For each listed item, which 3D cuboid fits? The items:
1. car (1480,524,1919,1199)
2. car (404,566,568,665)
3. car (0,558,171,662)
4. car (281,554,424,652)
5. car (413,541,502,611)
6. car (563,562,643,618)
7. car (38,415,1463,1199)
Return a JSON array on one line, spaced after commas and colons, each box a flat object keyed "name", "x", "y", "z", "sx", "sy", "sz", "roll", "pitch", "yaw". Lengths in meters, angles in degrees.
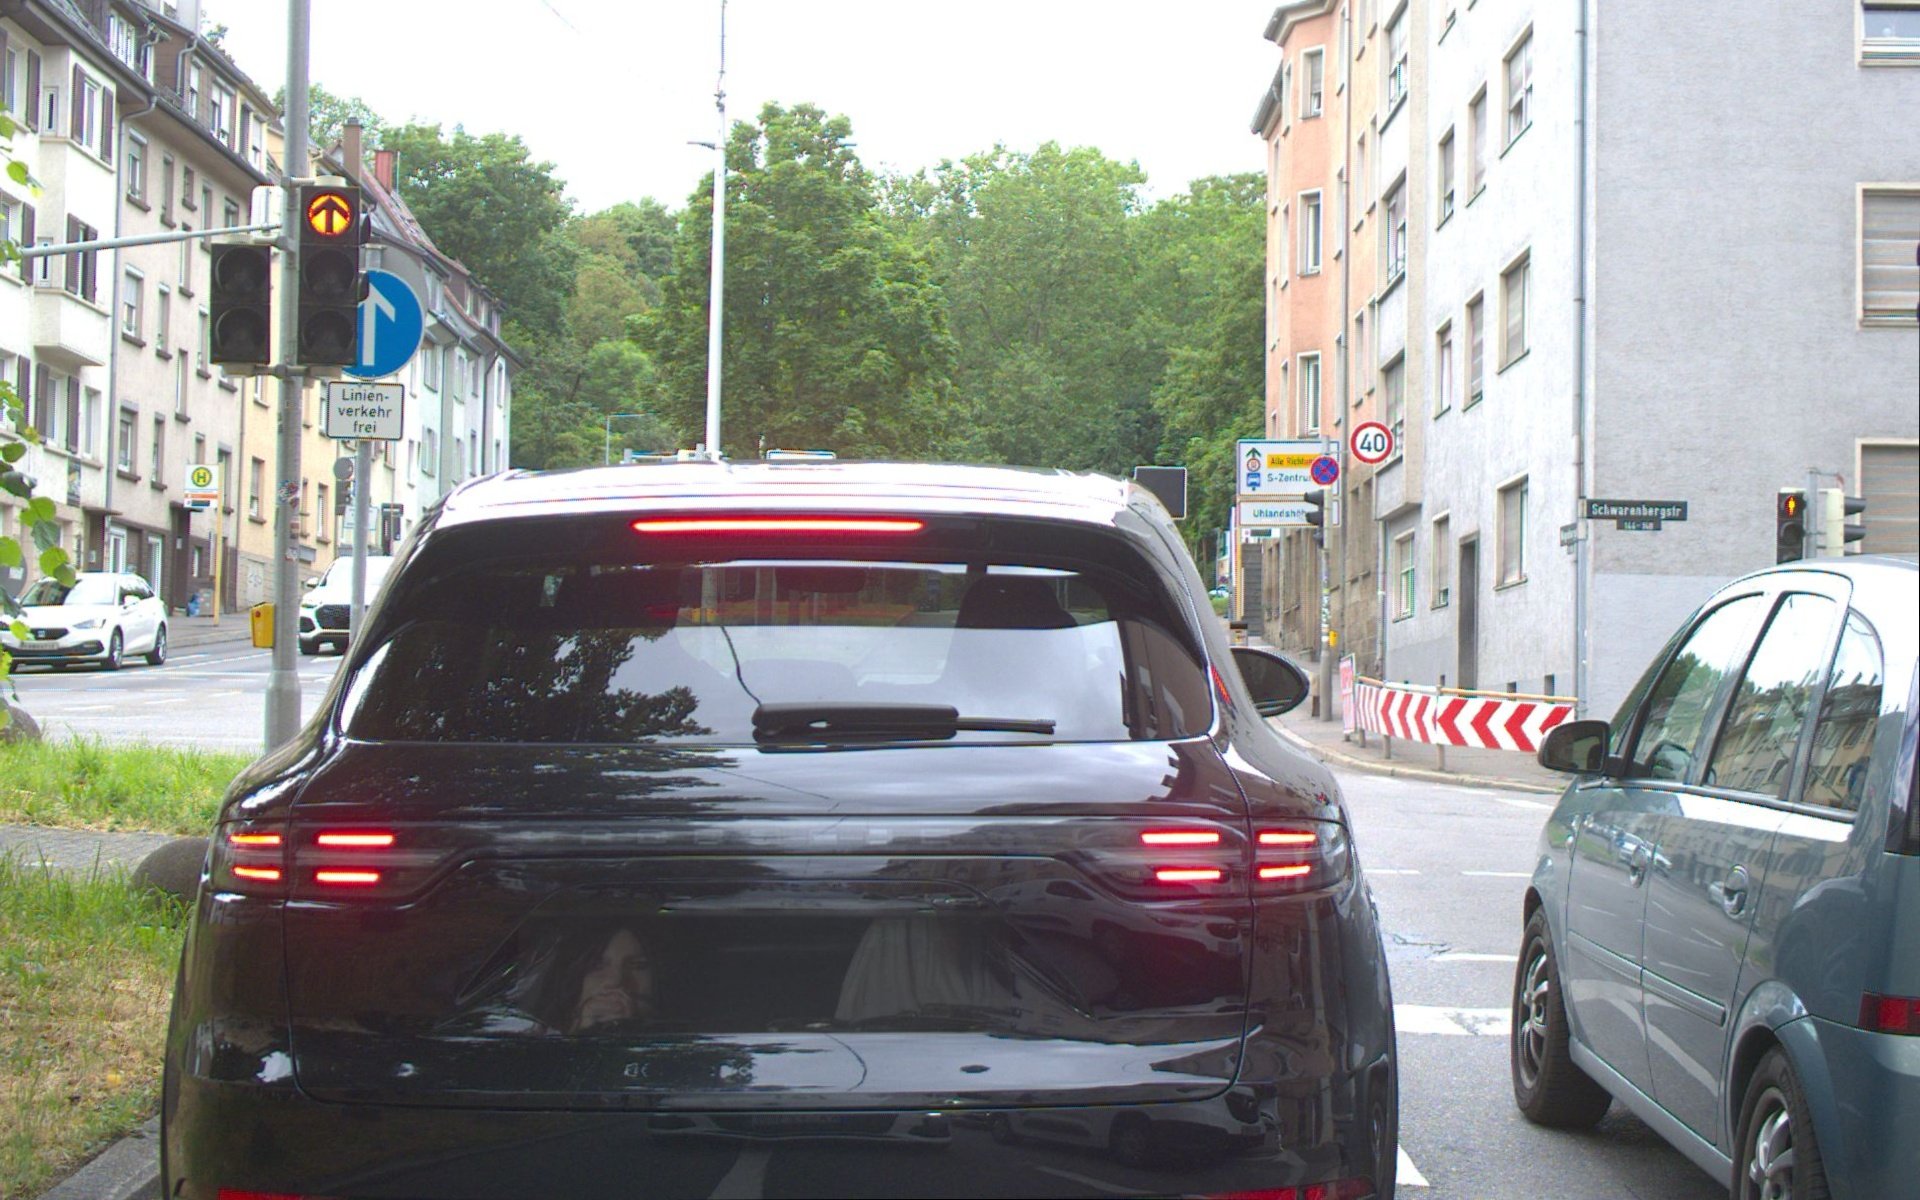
[{"name": "car", "x": 2.354, "y": 0.696, "z": 7.882, "sx": 1.628, "sy": 1.592, "sz": 3.669, "roll": 4, "pitch": 1, "yaw": -1}, {"name": "car", "x": -6.948, "y": 0.198, "z": 50.756, "sx": 1.862, "sy": 1.383, "sz": 4.094, "roll": 1, "pitch": 1, "yaw": 0}, {"name": "car", "x": -13.198, "y": 0.126, "z": 51.532, "sx": 1.844, "sy": 1.481, "sz": 3.898, "roll": 1, "pitch": 1, "yaw": 0}, {"name": "car", "x": -10.461, "y": 0.028, "z": 58.981, "sx": 1.973, "sy": 1.605, "sz": 4.559, "roll": 1, "pitch": 1, "yaw": -16}, {"name": "car", "x": -15.274, "y": -0.735, "z": 104.683, "sx": 2.016, "sy": 2.038, "sz": 4.667, "roll": 1, "pitch": 1, "yaw": 0}, {"name": "car", "x": -9.809, "y": -0.266, "z": 94.634, "sx": 1.619, "sy": 1.475, "sz": 3.823, "roll": 1, "pitch": -1, "yaw": 3}, {"name": "car", "x": -0.311, "y": 0.563, "z": 6.727, "sx": 1.955, "sy": 1.669, "sz": 4.000, "roll": 0, "pitch": 1, "yaw": -1}]
